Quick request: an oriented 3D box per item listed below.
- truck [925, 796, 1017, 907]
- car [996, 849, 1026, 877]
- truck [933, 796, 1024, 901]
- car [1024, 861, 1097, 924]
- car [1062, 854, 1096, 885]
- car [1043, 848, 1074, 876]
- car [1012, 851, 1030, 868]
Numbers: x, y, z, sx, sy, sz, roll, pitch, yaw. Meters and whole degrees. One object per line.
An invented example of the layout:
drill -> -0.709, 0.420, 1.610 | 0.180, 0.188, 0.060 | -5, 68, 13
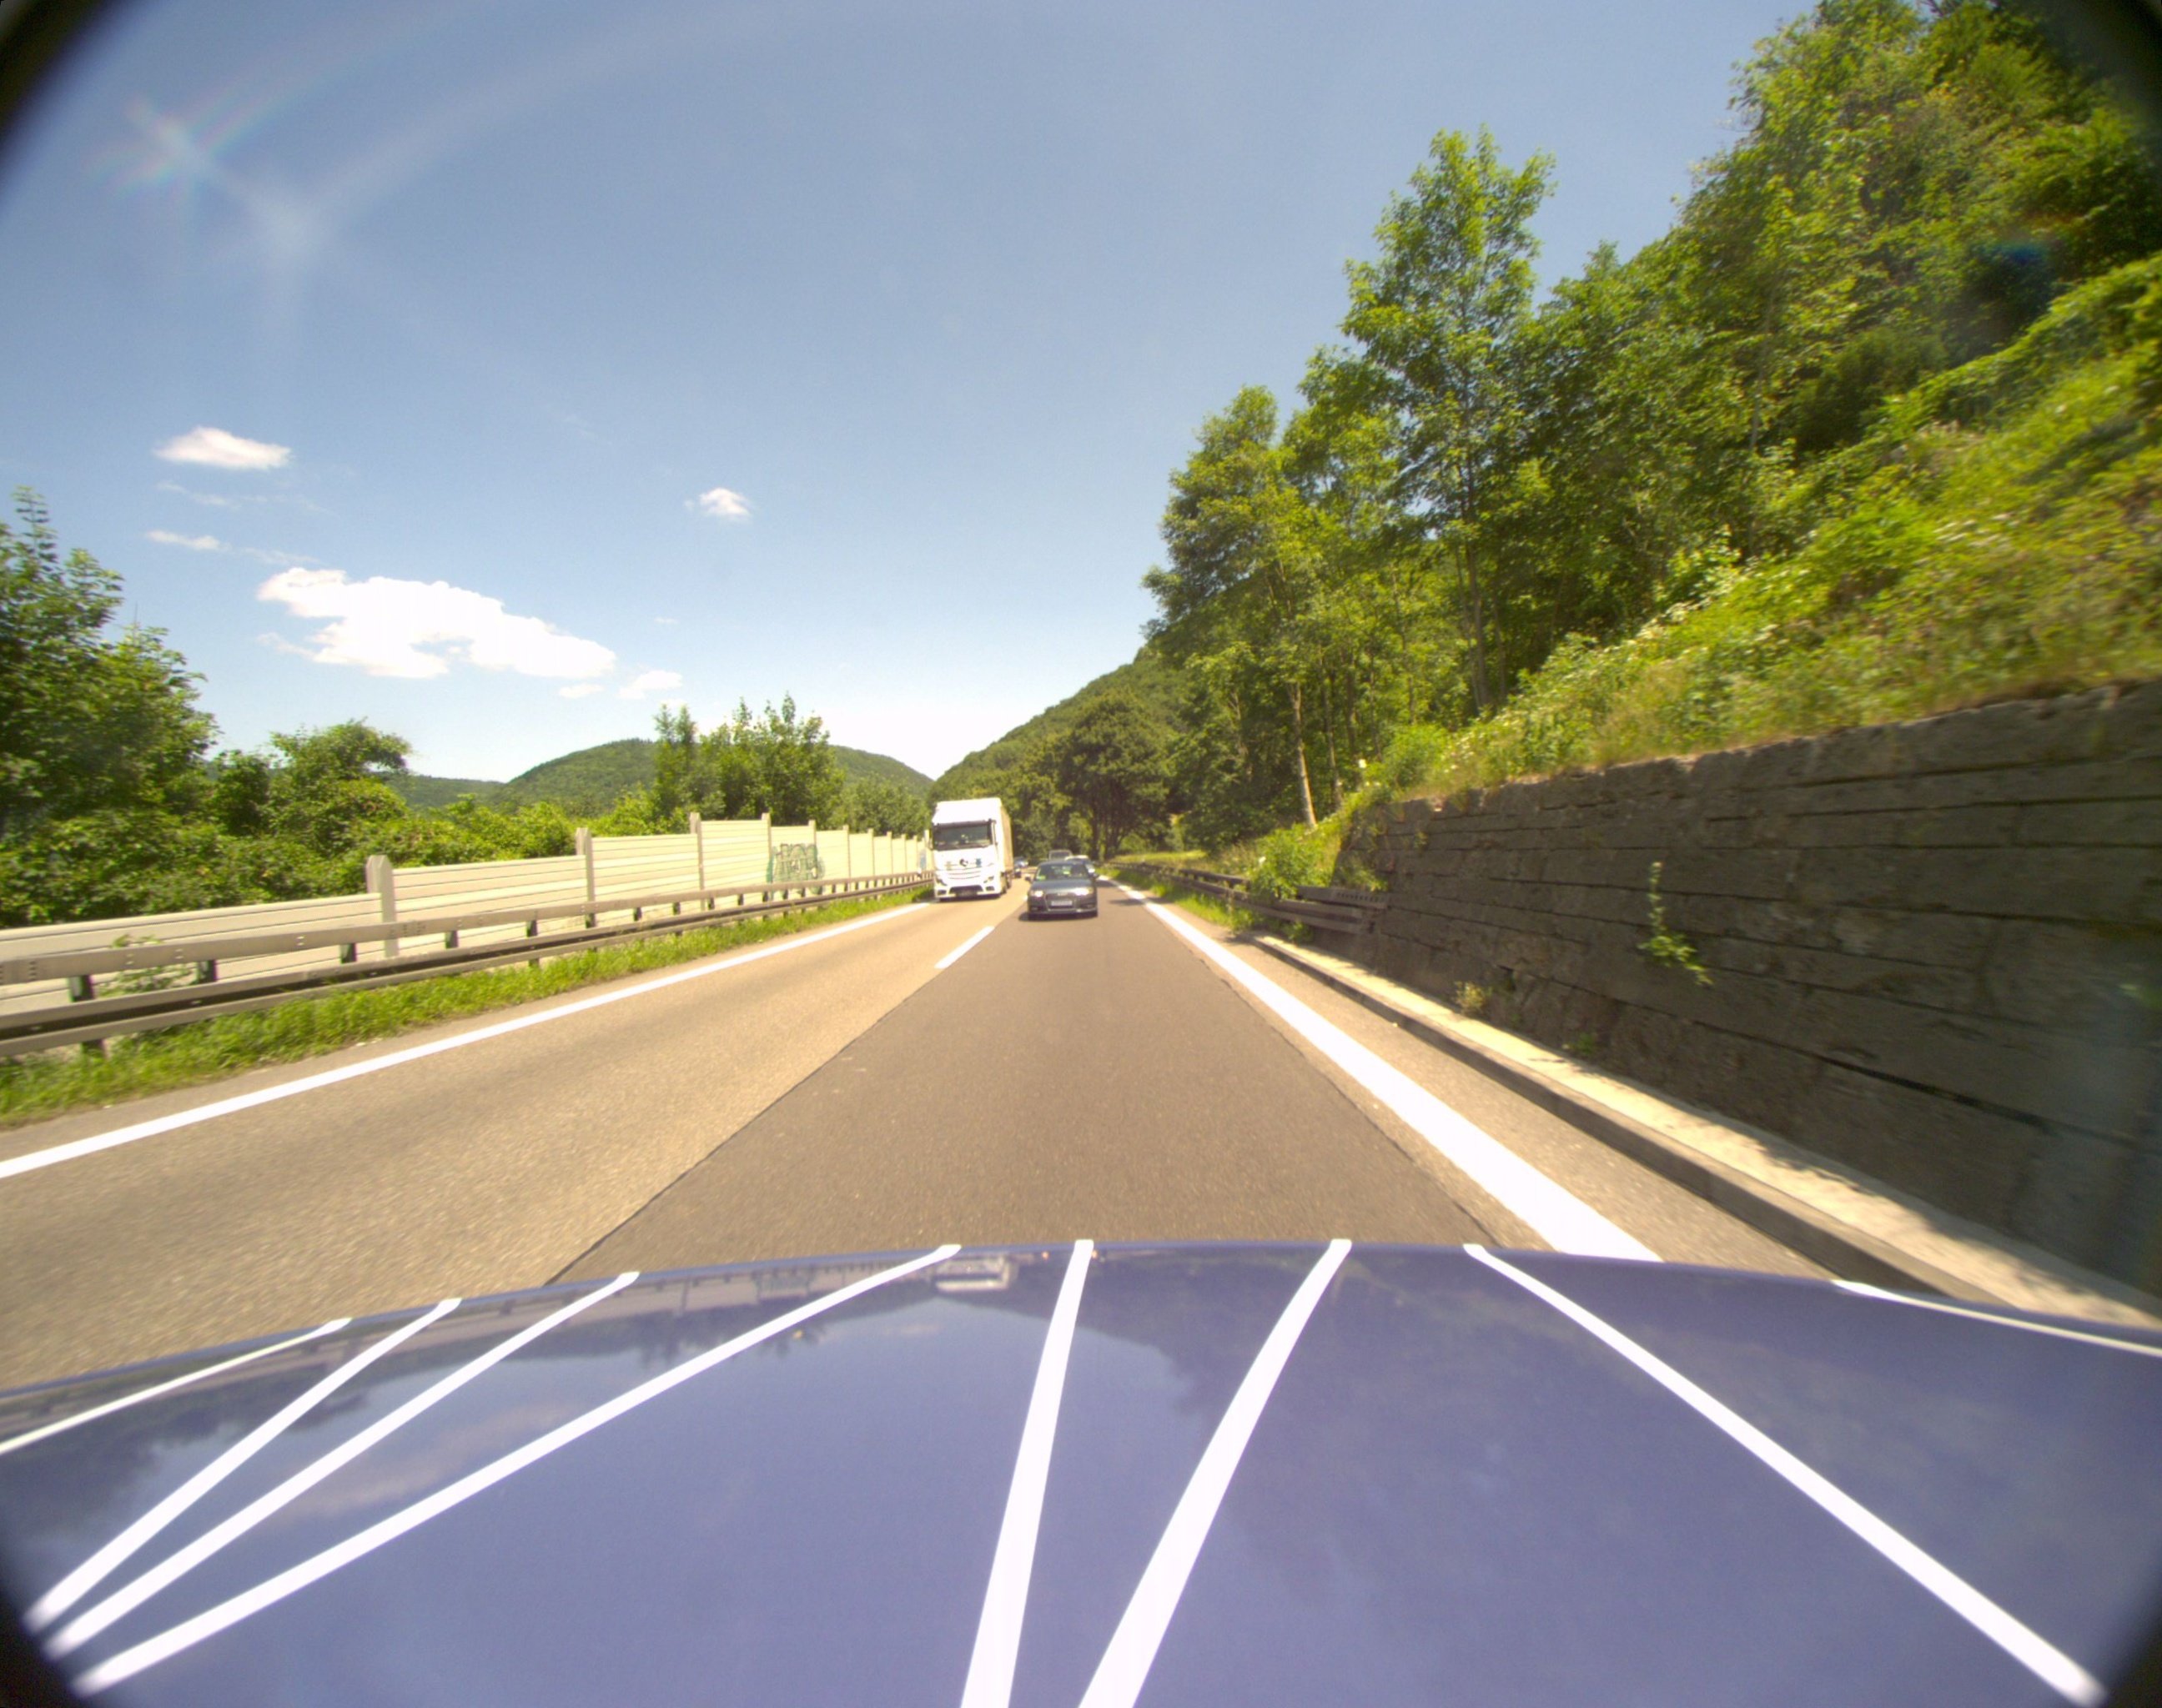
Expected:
truck -> -4.431, -0.150, 32.015 | 2.764, 4.016, 6.821 | -4, 1, -1
car -> -5.472, 0.660, 59.502 | 1.999, 2.002, 3.998 | -3, 1, -2
truck -> -4.644, -0.283, 37.120 | 2.862, 4.124, 12.043 | -4, 1, -2
car -> -0.482, 0.906, 19.374 | 1.662, 1.435, 3.475 | -1, 0, 0
car -> -0.060, 0.820, 42.044 | 1.715, 1.541, 4.000 | -2, 0, 1
car -> -1.594, 0.565, 54.011 | 2.044, 1.855, 4.000 | -3, 0, -1
car -> -7.535, 0.639, 95.122 | 2.000, 2.002, 3.997 | -2, 0, -8
